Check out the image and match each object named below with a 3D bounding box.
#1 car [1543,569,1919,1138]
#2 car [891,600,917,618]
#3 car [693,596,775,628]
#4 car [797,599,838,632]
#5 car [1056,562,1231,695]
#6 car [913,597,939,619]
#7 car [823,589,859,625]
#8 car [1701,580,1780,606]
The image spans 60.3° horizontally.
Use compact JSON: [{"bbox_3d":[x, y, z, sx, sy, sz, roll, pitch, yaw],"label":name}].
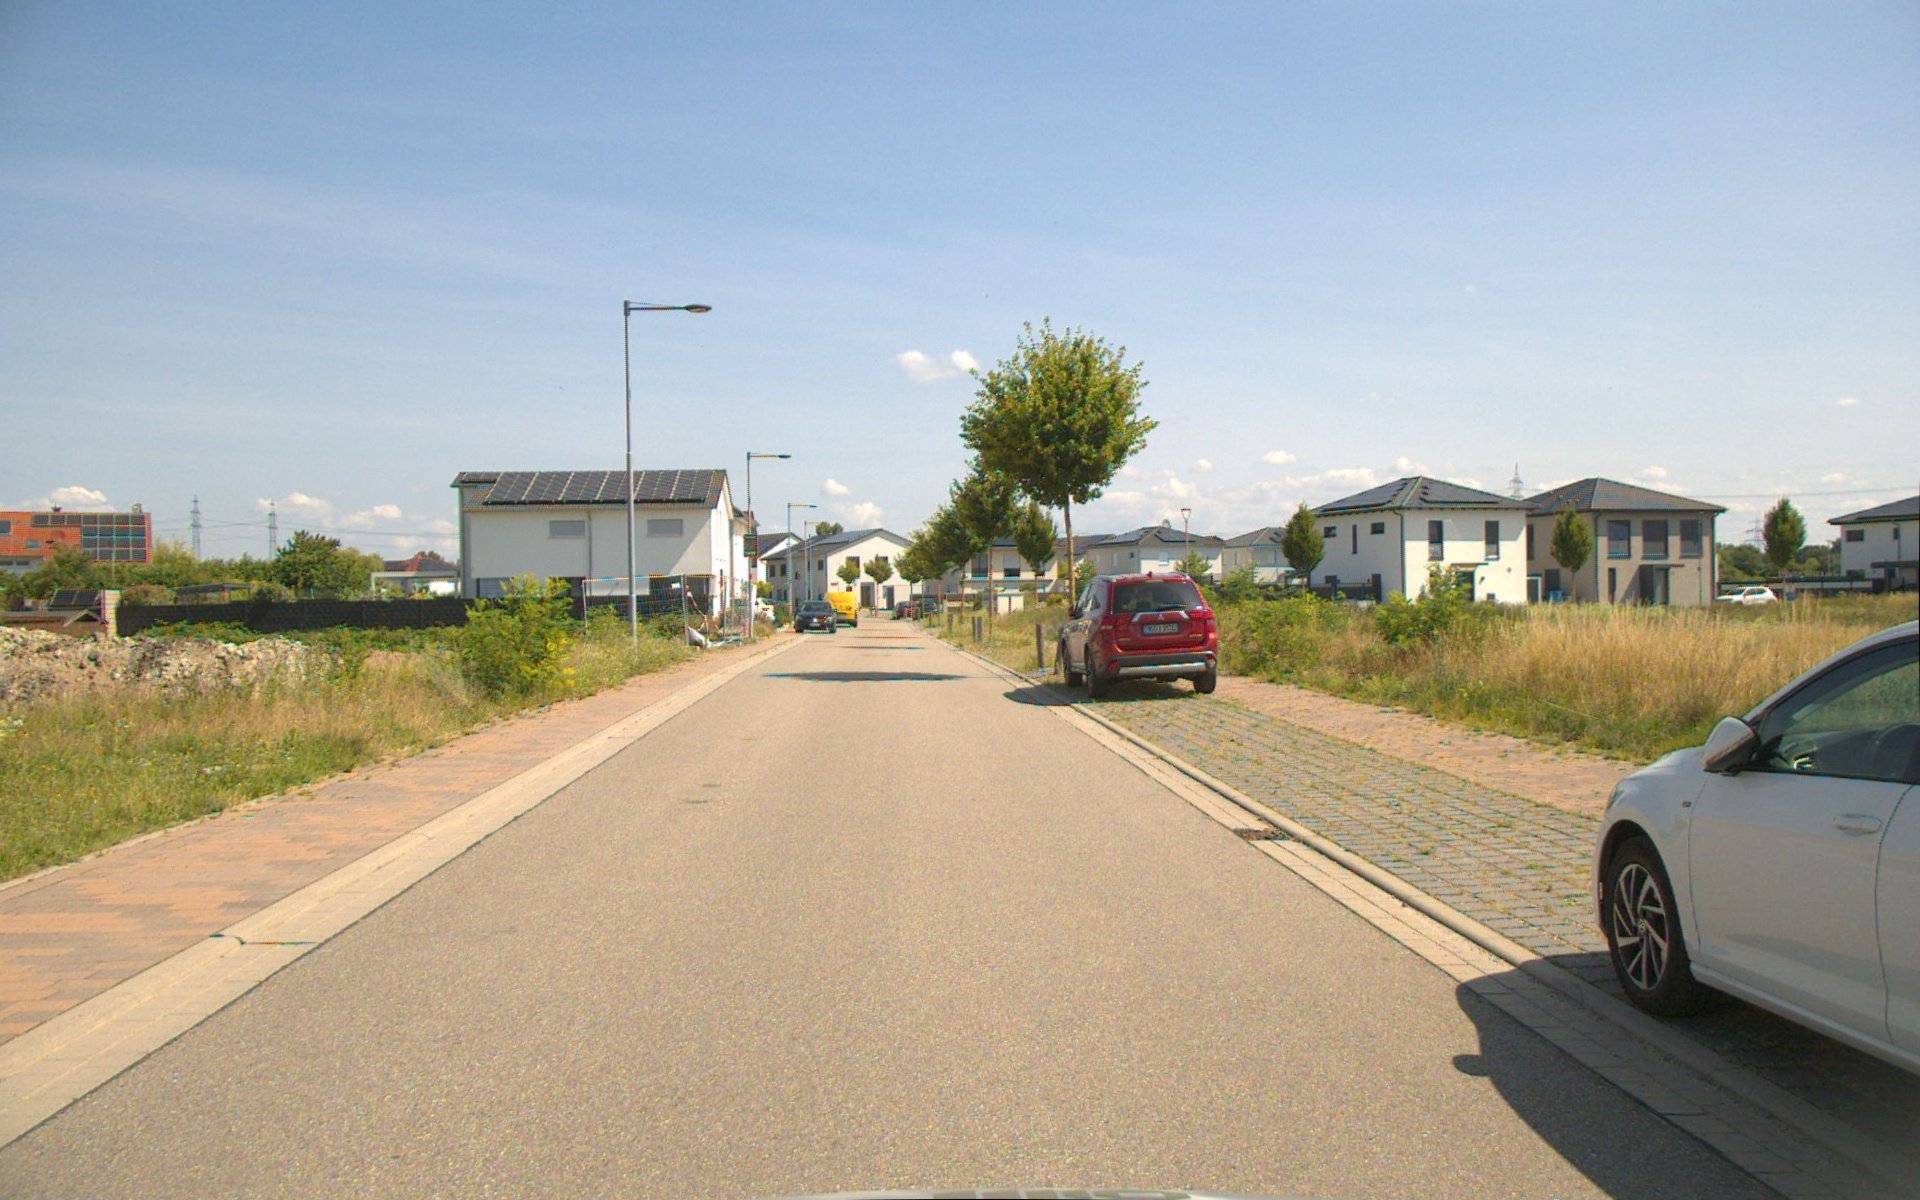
[{"bbox_3d":[3.357,0.652,4.667,1.740,1.444,4.163,-3,1,-3],"label":"car"},{"bbox_3d":[-4.580,0.722,134.676,1.598,1.346,3.824,-1,-2,-10],"label":"car"},{"bbox_3d":[-11.709,0.599,85.882,3.984,1.609,1.785,0,1,2],"label":"car"},{"bbox_3d":[-6.507,0.680,75.771,1.710,1.429,4.157,1,0,-3],"label":"car"},{"bbox_3d":[2.573,0.358,24.165,1.742,1.692,4.430,-2,1,-4],"label":"car"},{"bbox_3d":[-2.430,0.552,116.168,1.607,1.427,3.807,-1,-2,-4],"label":"car"},{"bbox_3d":[-6.922,0.437,95.815,1.904,2.016,4.210,-1,-1,-7],"label":"car"},{"bbox_3d":[44.599,-0.404,94.549,3.924,1.422,1.742,-1,-1,-17],"label":"car"}]
